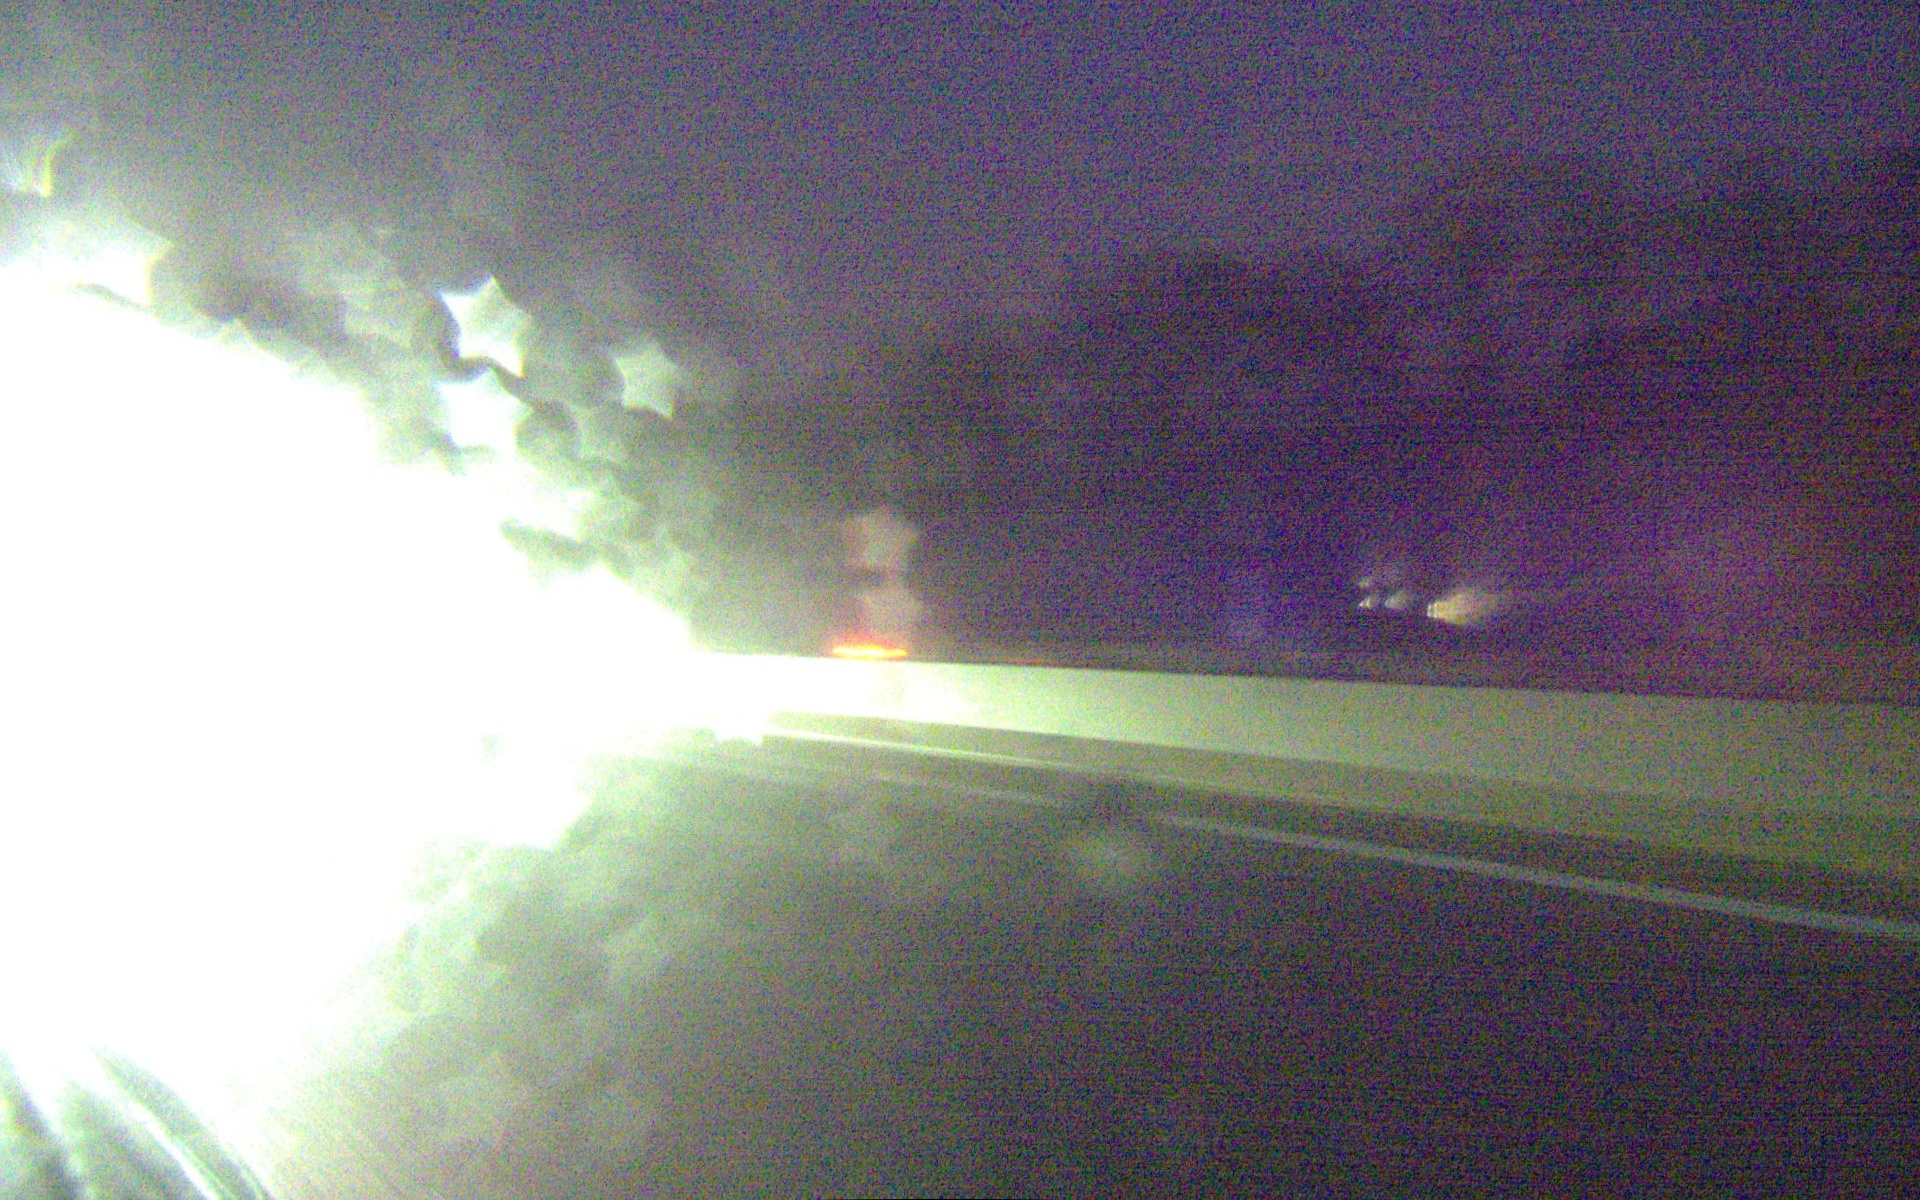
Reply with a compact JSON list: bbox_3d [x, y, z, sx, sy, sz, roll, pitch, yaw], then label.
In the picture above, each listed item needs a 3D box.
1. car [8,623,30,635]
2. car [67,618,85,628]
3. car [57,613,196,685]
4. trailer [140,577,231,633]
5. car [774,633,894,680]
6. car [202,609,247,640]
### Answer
[{"bbox_3d":[-136.103,4.165,146.397,3.997,1.674,1.815,0,-1,40],"label":"car"},{"bbox_3d":[-140.272,3.680,160.596,4.000,1.475,1.690,0,3,42],"label":"car"},{"bbox_3d":[-20.570,1.167,24.930,2.278,1.621,3.874,4,-3,-44],"label":"car"},{"bbox_3d":[-71.262,0.513,92.930,13.956,4.659,4.122,0,-3,42],"label":"trailer"},{"bbox_3d":[-4.684,2.035,37.276,4.405,1.497,1.973,-1,0,41],"label":"car"},{"bbox_3d":[-53.357,1.750,73.373,3.949,2.144,1.774,0,-1,41],"label":"car"}]
